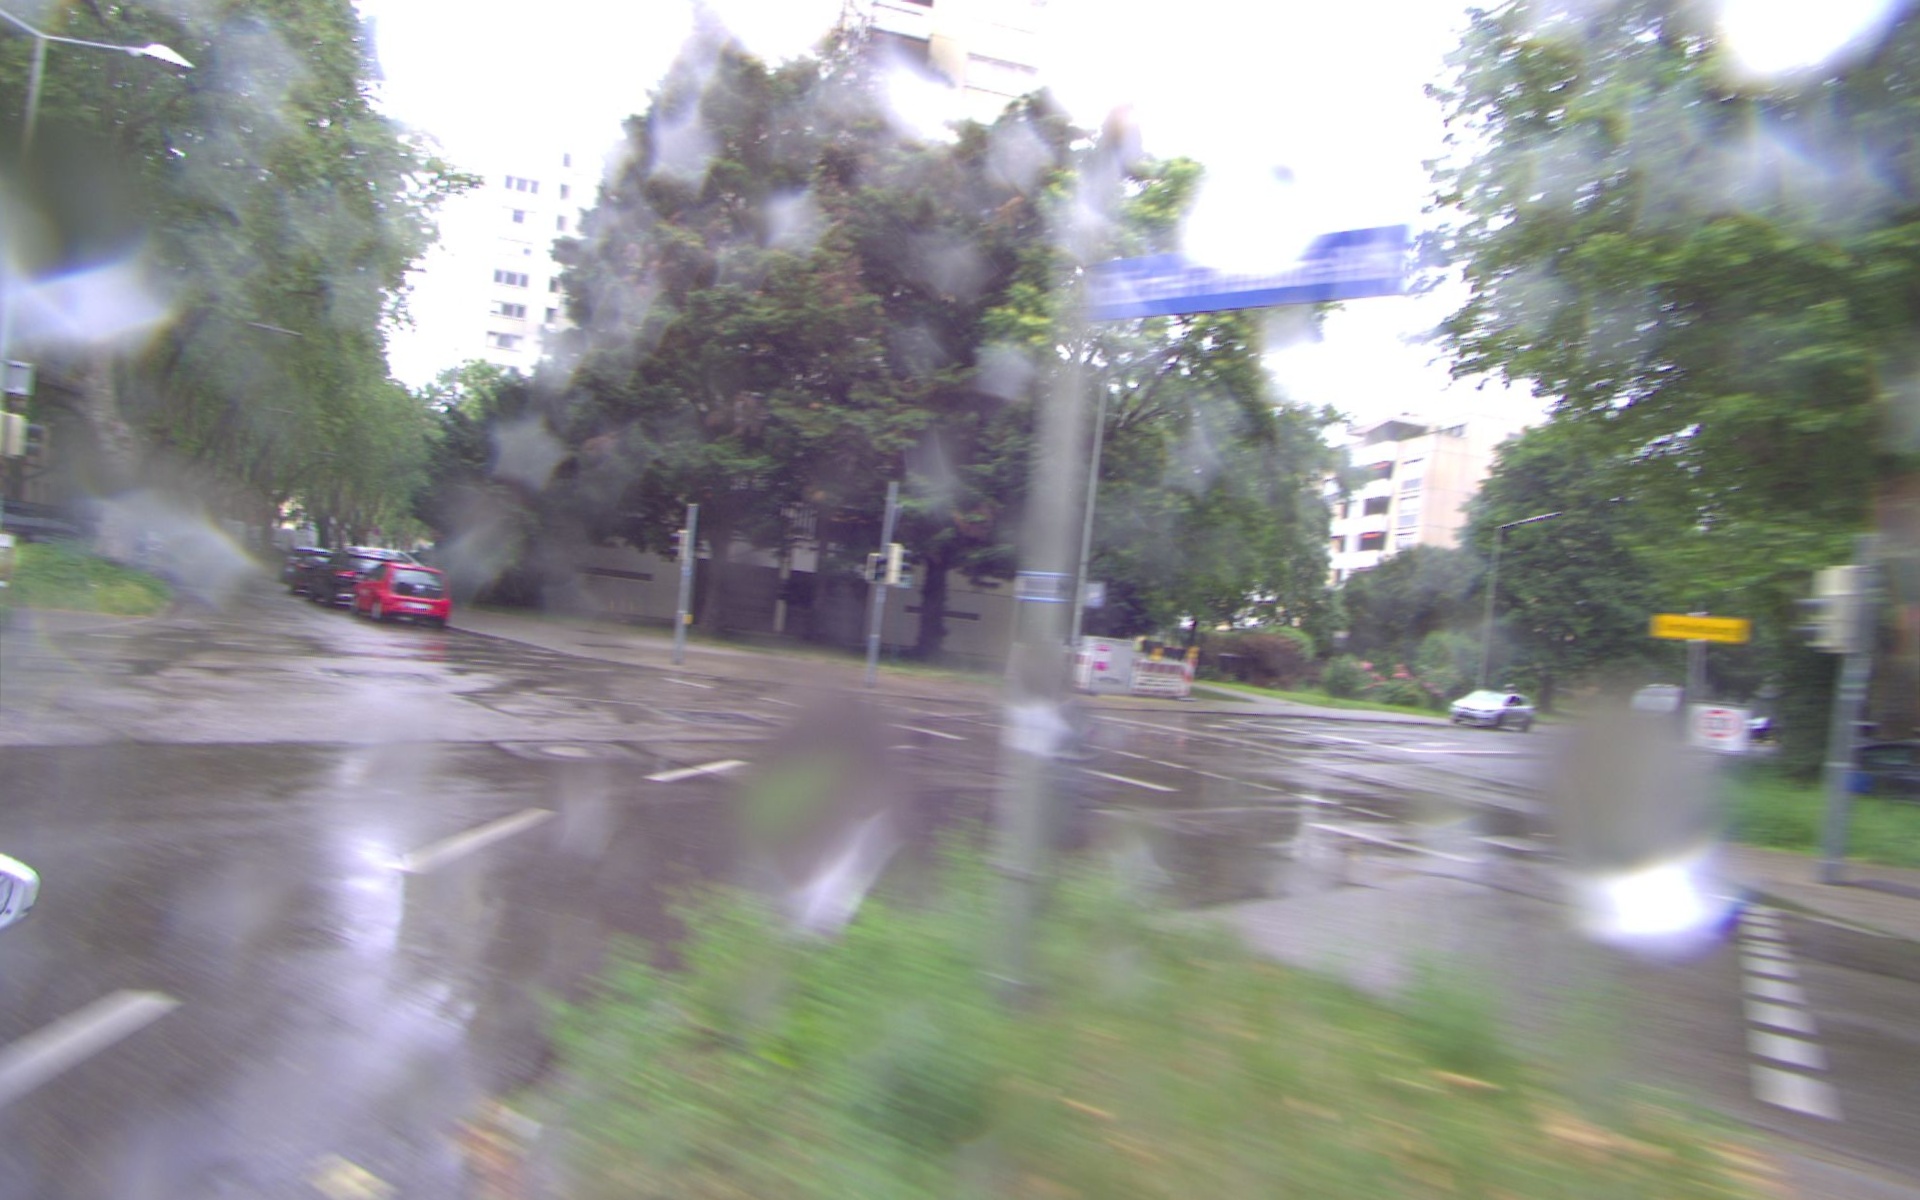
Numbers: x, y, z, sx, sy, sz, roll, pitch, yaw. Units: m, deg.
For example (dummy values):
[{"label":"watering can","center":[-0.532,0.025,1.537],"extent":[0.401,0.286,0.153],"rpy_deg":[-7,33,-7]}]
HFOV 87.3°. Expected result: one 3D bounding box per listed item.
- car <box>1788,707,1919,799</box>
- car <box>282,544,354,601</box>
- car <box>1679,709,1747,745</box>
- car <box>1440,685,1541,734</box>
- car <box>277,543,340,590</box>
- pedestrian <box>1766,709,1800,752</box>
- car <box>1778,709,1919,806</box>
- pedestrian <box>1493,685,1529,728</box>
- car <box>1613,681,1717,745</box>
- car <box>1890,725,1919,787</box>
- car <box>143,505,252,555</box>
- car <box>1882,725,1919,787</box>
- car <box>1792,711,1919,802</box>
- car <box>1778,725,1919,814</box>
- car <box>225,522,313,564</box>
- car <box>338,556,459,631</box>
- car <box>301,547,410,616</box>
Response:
[{"label":"car","center":[22.257,3.693,23.064],"extent":[2.017,1.711,4.622],"rpy_deg":[7,0,-38]},{"label":"car","center":[-21.625,-0.948,33.968],"extent":[1.822,1.615,3.458],"rpy_deg":[7,-1,-32]},{"label":"car","center":[40.781,6.900,54.454],"extent":[3.970,1.557,1.978],"rpy_deg":[8,-2,-40]},{"label":"car","center":[20.680,4.268,39.135],"extent":[4.237,1.477,1.804],"rpy_deg":[8,-2,-38]},{"label":"car","center":[-27.224,-1.402,41.988],"extent":[1.915,1.653,3.962],"rpy_deg":[7,-2,-36]},{"label":"pedestrian","center":[43.073,6.839,52.672],"extent":[1.071,2.088,0.935],"rpy_deg":[7,0,-35]},{"label":"car","center":[20.492,3.510,21.185],"extent":[1.916,1.642,4.686],"rpy_deg":[7,0,-41]},{"label":"pedestrian","center":[24.077,4.649,43.964],"extent":[0.920,1.681,0.935],"rpy_deg":[7,0,-35]},{"label":"car","center":[33.766,5.436,48.121],"extent":[5.647,2.505,2.377],"rpy_deg":[8,0,-38]},{"label":"car","center":[33.650,5.457,32.916],"extent":[2.019,1.923,4.393],"rpy_deg":[7,0,-40]},{"label":"car","center":[-49.033,-4.459,64.752],"extent":[5.498,2.430,2.236],"rpy_deg":[6,-1,9]},{"label":"car","center":[29.231,4.748,28.680],"extent":[1.921,1.652,3.984],"rpy_deg":[7,0,-38]},{"label":"car","center":[24.803,4.225,26.018],"extent":[2.017,1.896,4.622],"rpy_deg":[7,0,-38]},{"label":"car","center":[18.489,3.376,19.372],"extent":[1.785,1.370,3.954],"rpy_deg":[8,-2,-42]},{"label":"car","center":[-56.781,-4.682,82.674],"extent":[5.857,2.681,2.002],"rpy_deg":[6,-1,7]},{"label":"car","center":[-14.348,-0.198,25.656],"extent":[1.830,1.543,3.420],"rpy_deg":[7,-2,-43]},{"label":"car","center":[-17.700,-0.583,29.346],"extent":[1.926,1.627,4.406],"rpy_deg":[7,-2,-40]}]
